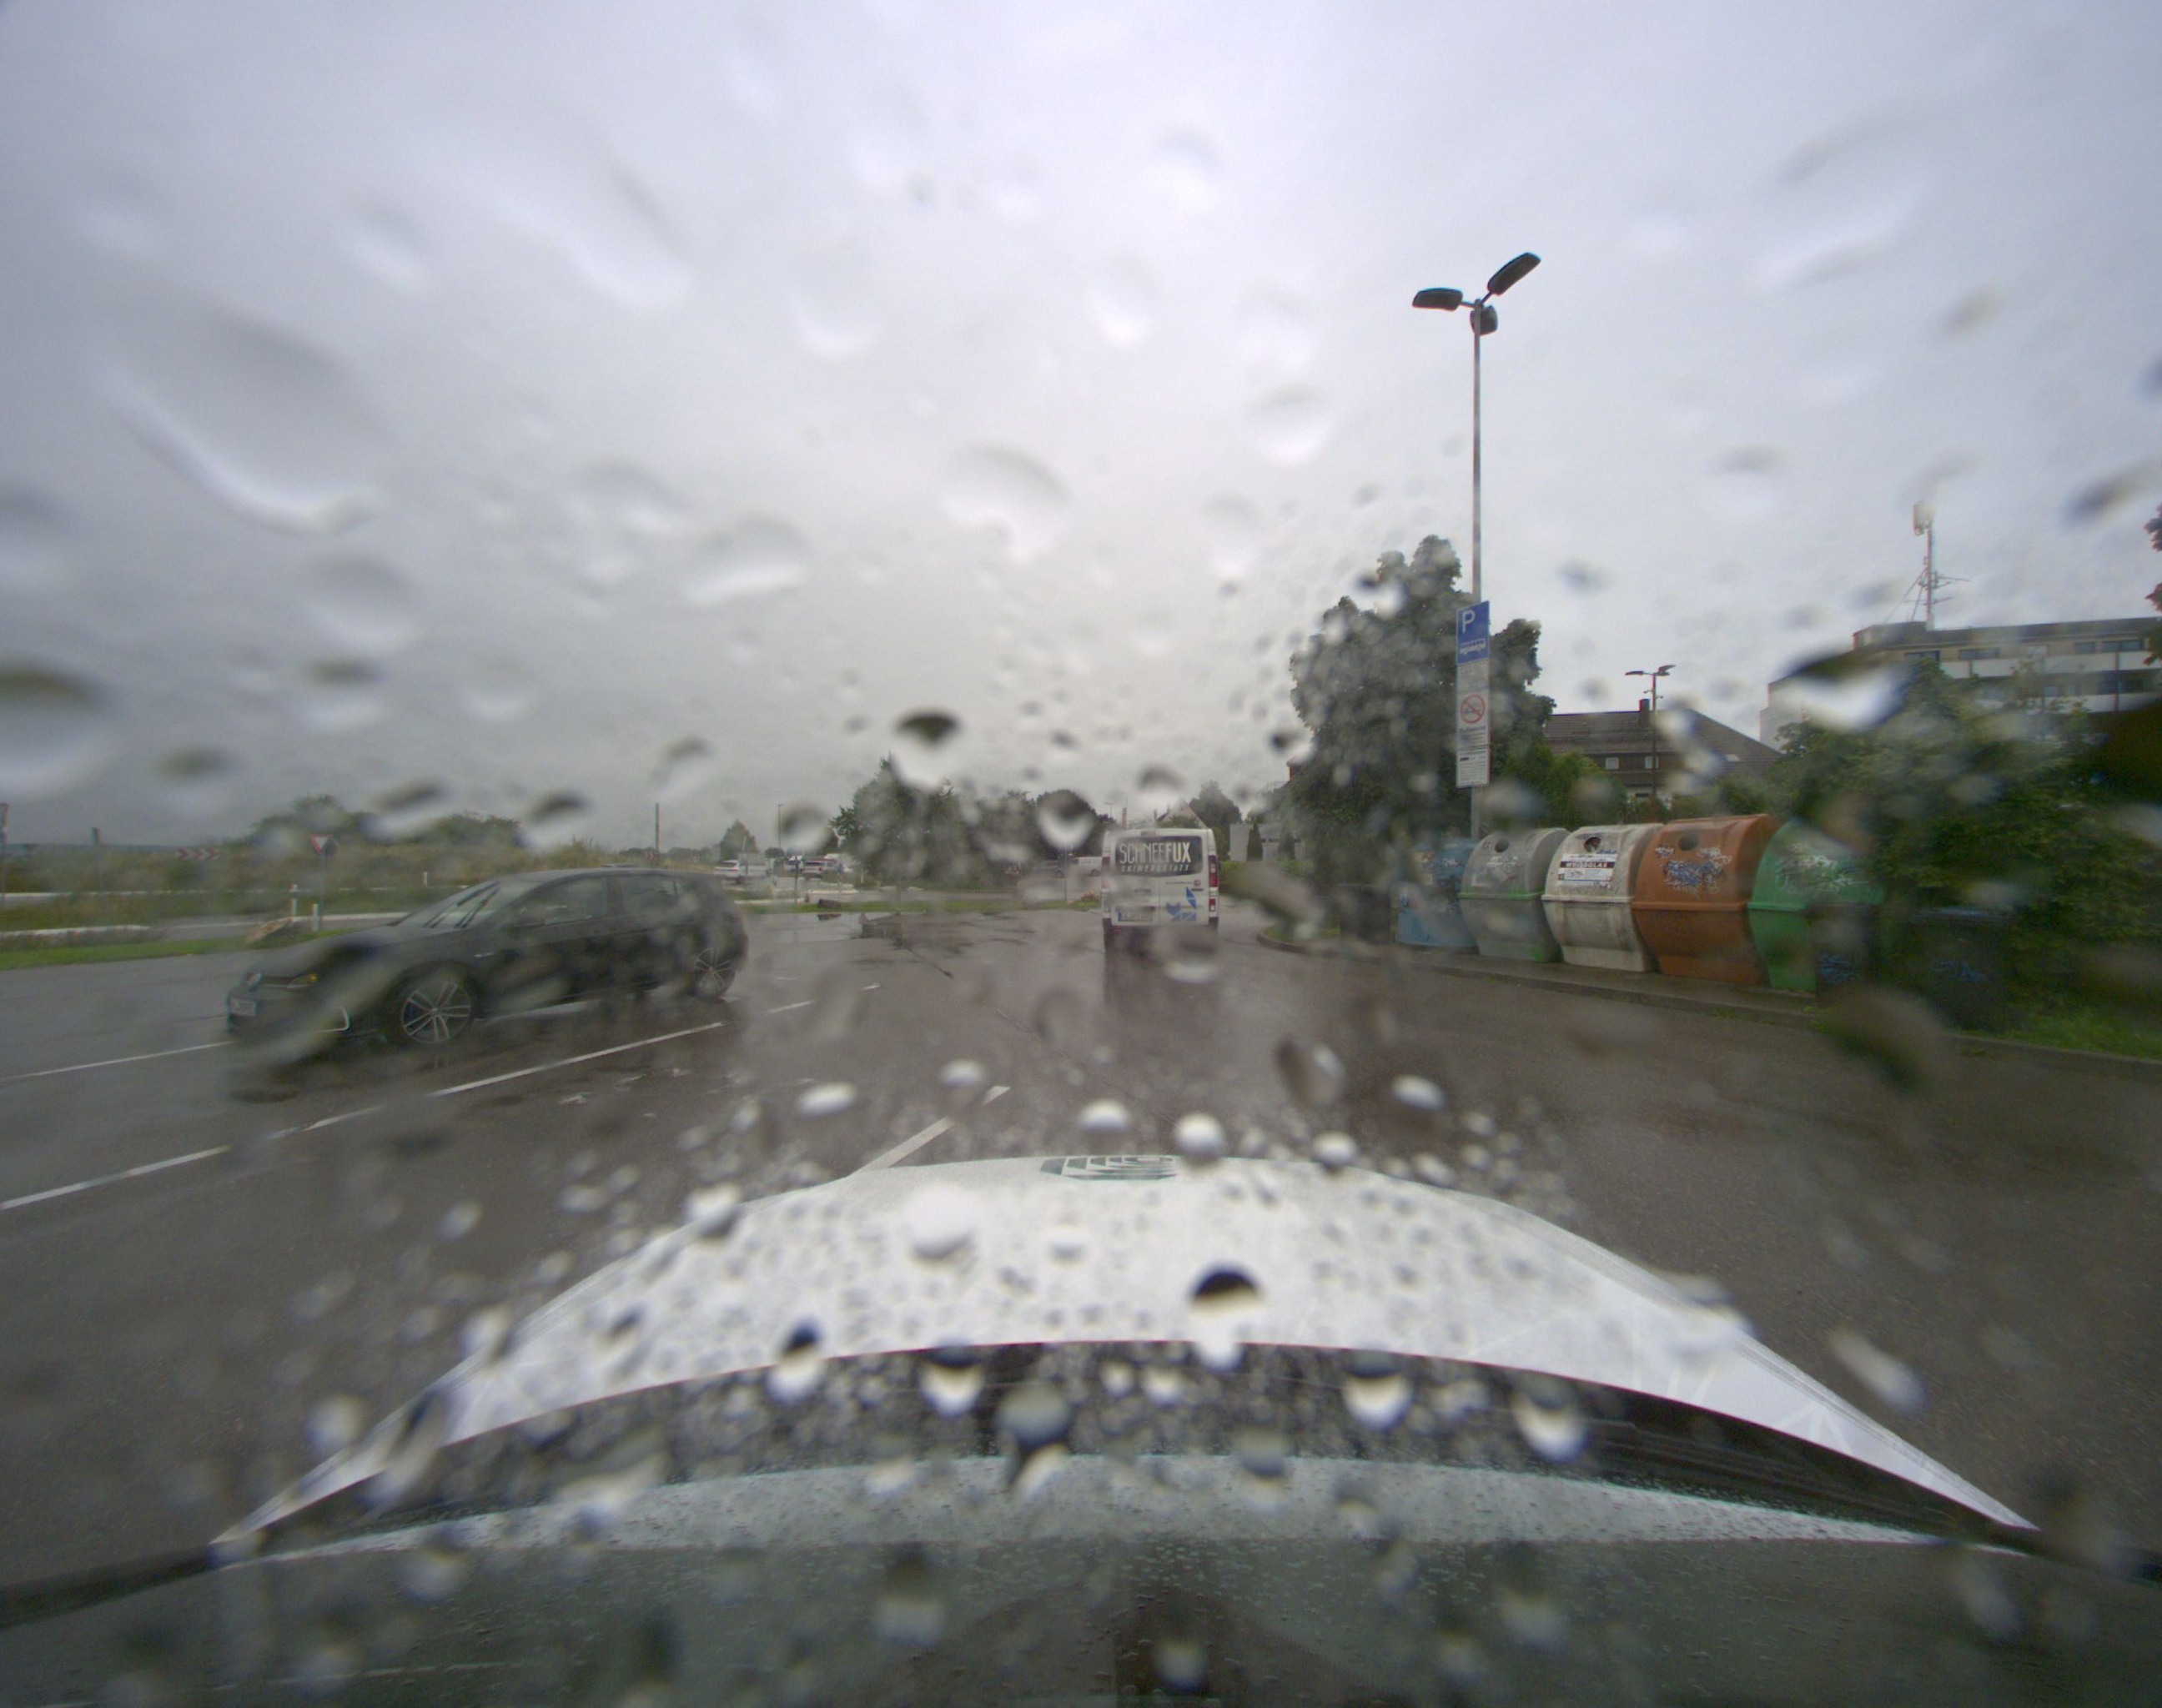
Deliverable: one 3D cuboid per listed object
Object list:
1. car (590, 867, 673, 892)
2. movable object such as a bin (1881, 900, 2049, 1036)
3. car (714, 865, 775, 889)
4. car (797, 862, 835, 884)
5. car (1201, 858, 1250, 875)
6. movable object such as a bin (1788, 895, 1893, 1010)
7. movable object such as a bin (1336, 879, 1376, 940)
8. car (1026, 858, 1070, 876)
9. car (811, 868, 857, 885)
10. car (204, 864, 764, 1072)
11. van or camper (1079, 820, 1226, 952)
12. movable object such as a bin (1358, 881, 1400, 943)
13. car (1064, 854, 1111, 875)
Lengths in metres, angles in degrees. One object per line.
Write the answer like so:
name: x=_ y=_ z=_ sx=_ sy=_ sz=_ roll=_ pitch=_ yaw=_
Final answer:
car: x=-26.987 y=1.497 z=49.019 sx=1.672 sy=1.326 sz=4.068 roll=-1 pitch=0 yaw=28
movable object such as a bin: x=6.529 y=0.822 z=6.045 sx=0.624 sy=0.920 sz=0.558 roll=-1 pitch=0 yaw=9
car: x=-23.540 y=1.588 z=57.116 sx=1.677 sy=1.584 sz=4.401 roll=-1 pitch=0 yaw=13
car: x=-23.434 y=1.656 z=72.141 sx=1.989 sy=1.873 sz=4.640 roll=-1 pitch=0 yaw=-3
car: x=13.276 y=1.147 z=74.755 sx=4.143 sy=1.498 sz=1.725 roll=-1 pitch=-1 yaw=16
movable object such as a bin: x=6.419 y=0.821 z=6.897 sx=0.490 sy=0.920 sz=0.417 roll=-1 pitch=0 yaw=9
movable object such as a bin: x=4.424 y=0.878 z=13.106 sx=0.447 sy=0.938 sz=0.488 roll=-1 pitch=0 yaw=-2
car: x=-3.000 y=1.207 z=73.747 sx=3.703 sy=1.551 sz=1.457 roll=-1 pitch=0 yaw=17
car: x=-26.409 y=2.368 z=87.112 sx=4.390 sy=1.759 sz=1.727 roll=0 pitch=-2 yaw=-42
car: x=-5.445 y=0.855 z=8.082 sx=1.757 sy=1.433 sz=4.103 roll=-1 pitch=0 yaw=28
van or camper: x=1.423 y=0.539 z=14.812 sx=2.175 sy=1.945 sz=5.208 roll=-1 pitch=-1 yaw=8
movable object such as a bin: x=4.594 y=0.887 z=12.580 sx=0.447 sy=0.917 sz=0.488 roll=-1 pitch=0 yaw=-2
car: x=0.676 y=1.050 z=83.091 sx=4.485 sy=2.033 sz=1.652 roll=-1 pitch=0 yaw=17
